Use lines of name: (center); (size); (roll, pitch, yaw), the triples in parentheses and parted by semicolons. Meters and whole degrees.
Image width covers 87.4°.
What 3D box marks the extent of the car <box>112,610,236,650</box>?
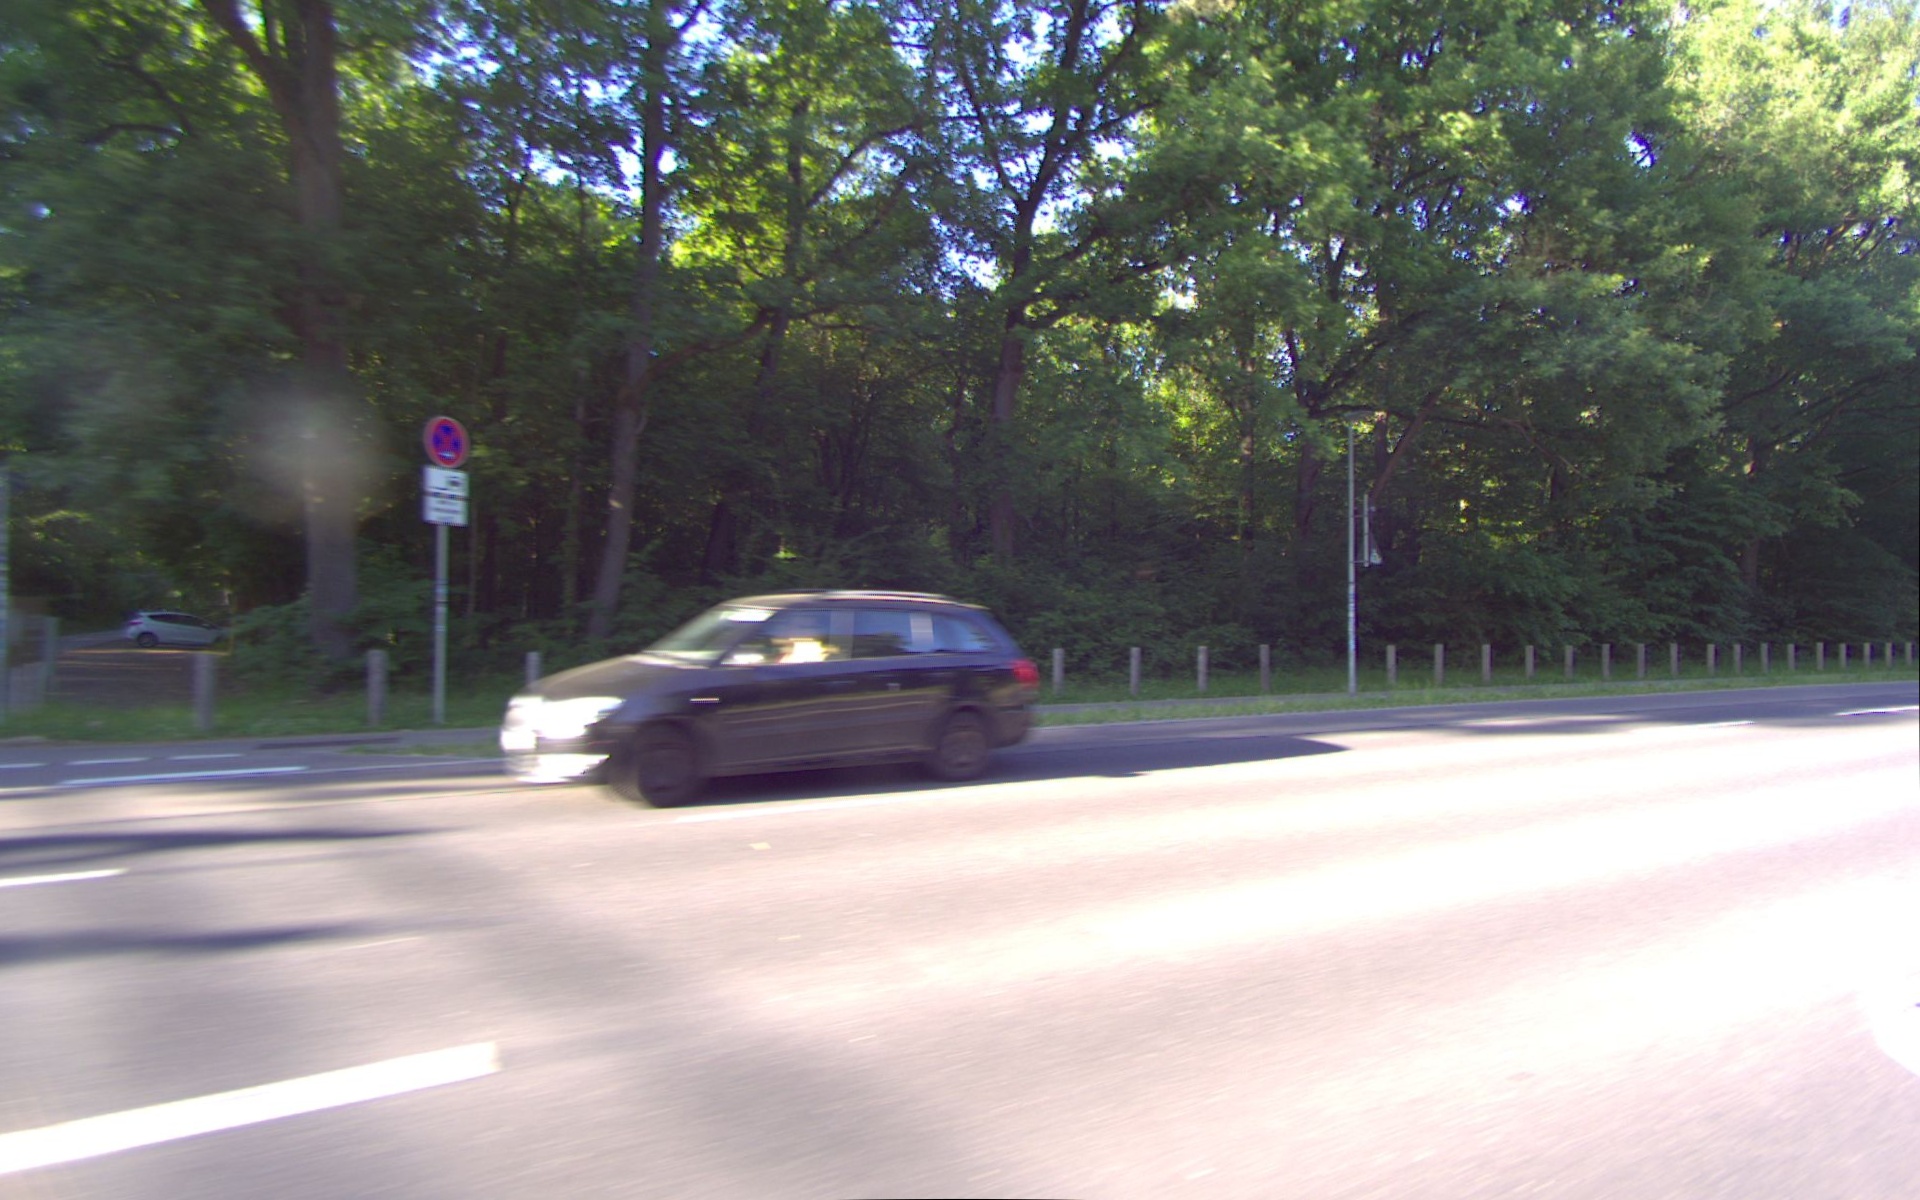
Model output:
car: (-32.166, 1.246, 41.241); (3.879, 1.524, 1.555); (2, 0, -35)

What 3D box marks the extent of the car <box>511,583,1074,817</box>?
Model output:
car: (-1.226, 0.662, 8.160); (4.265, 1.485, 1.505); (1, 0, -32)
